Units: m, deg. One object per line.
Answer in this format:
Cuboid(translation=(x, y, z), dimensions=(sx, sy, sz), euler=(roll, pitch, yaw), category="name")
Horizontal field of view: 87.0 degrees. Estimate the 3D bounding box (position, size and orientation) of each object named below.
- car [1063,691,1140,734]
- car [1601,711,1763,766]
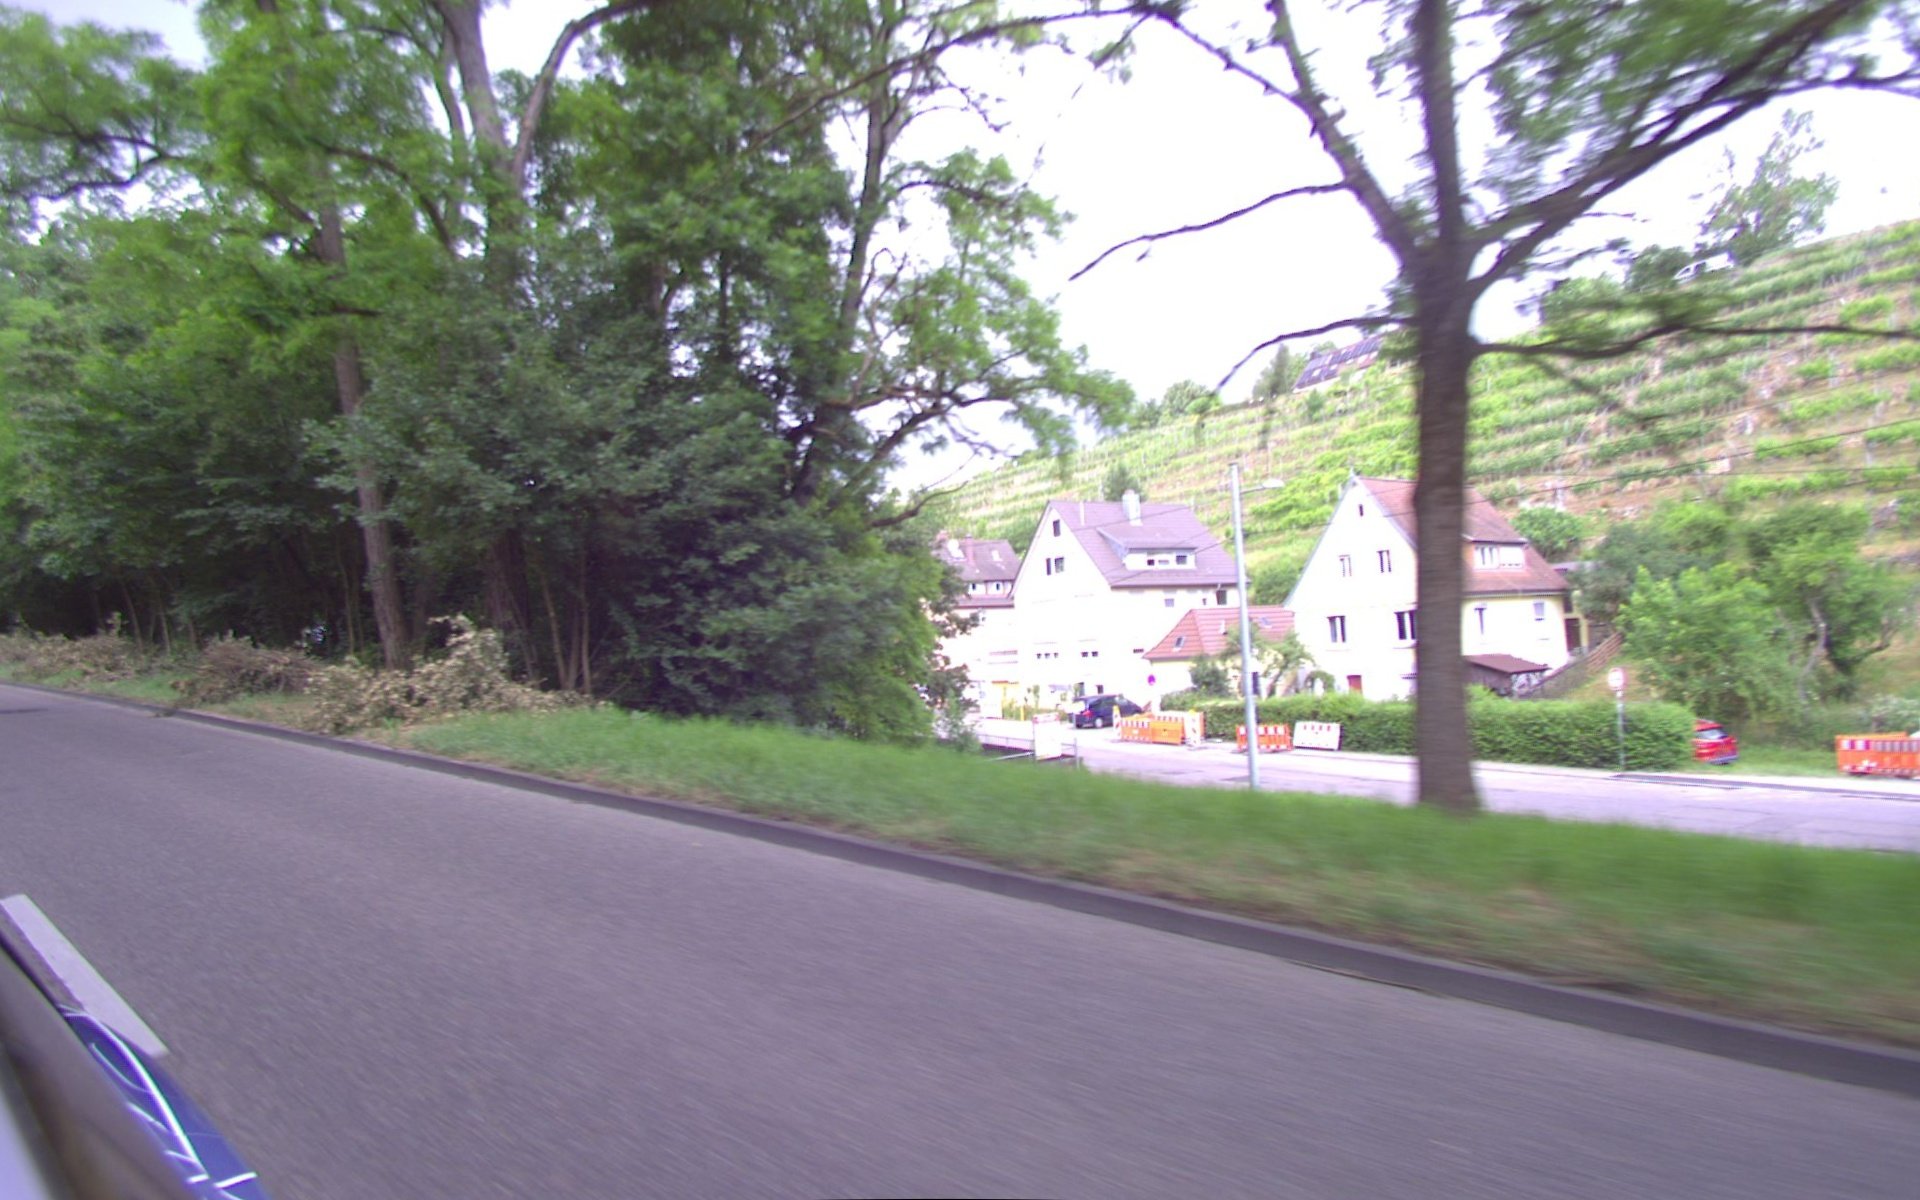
Cuboid(translation=(7.562, 5.937, 53.942), dimensions=(3.785, 1.896, 1.725), euler=(-2, -2, -33), category="car")
Cuboid(translation=(22.225, 4.250, 31.380), dimensions=(1.728, 1.400, 4.007), euler=(4, -5, -9), category="car")
